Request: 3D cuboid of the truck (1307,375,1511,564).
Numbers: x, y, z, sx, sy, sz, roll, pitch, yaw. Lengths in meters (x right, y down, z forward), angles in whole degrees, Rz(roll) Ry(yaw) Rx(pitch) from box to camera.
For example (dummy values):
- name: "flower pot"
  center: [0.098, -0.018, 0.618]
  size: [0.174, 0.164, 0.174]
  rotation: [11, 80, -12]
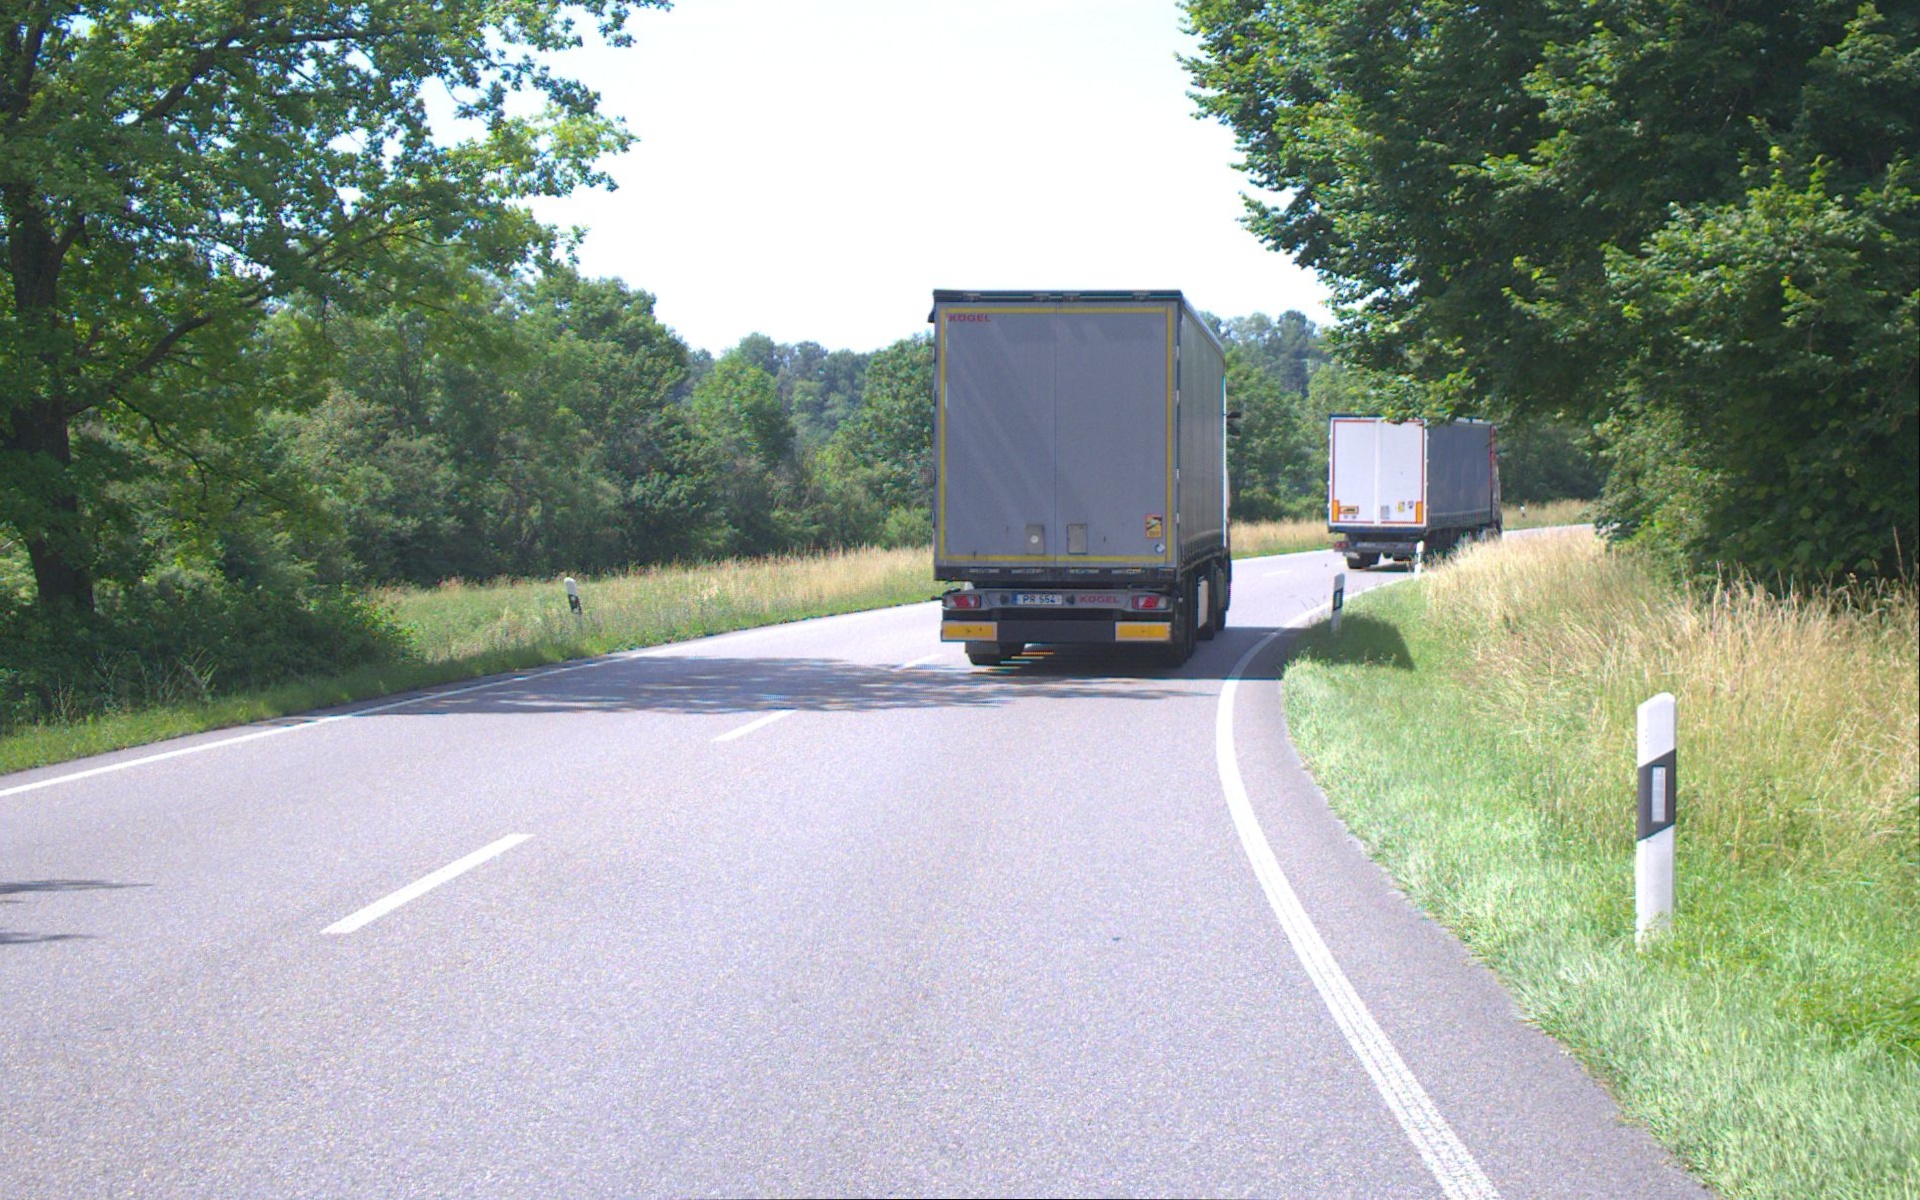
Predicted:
- name: "truck"
  center: [12.532, -3.492, 94.299]
  size: [3.107, 4.689, 16.577]
  rotation: [0, 1, 16]

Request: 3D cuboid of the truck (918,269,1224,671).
- name: "truck"
  center: [1.704, -1.520, 42.510]
  size: [2.802, 4.054, 15.323]
  rotation: [0, 2, 5]
